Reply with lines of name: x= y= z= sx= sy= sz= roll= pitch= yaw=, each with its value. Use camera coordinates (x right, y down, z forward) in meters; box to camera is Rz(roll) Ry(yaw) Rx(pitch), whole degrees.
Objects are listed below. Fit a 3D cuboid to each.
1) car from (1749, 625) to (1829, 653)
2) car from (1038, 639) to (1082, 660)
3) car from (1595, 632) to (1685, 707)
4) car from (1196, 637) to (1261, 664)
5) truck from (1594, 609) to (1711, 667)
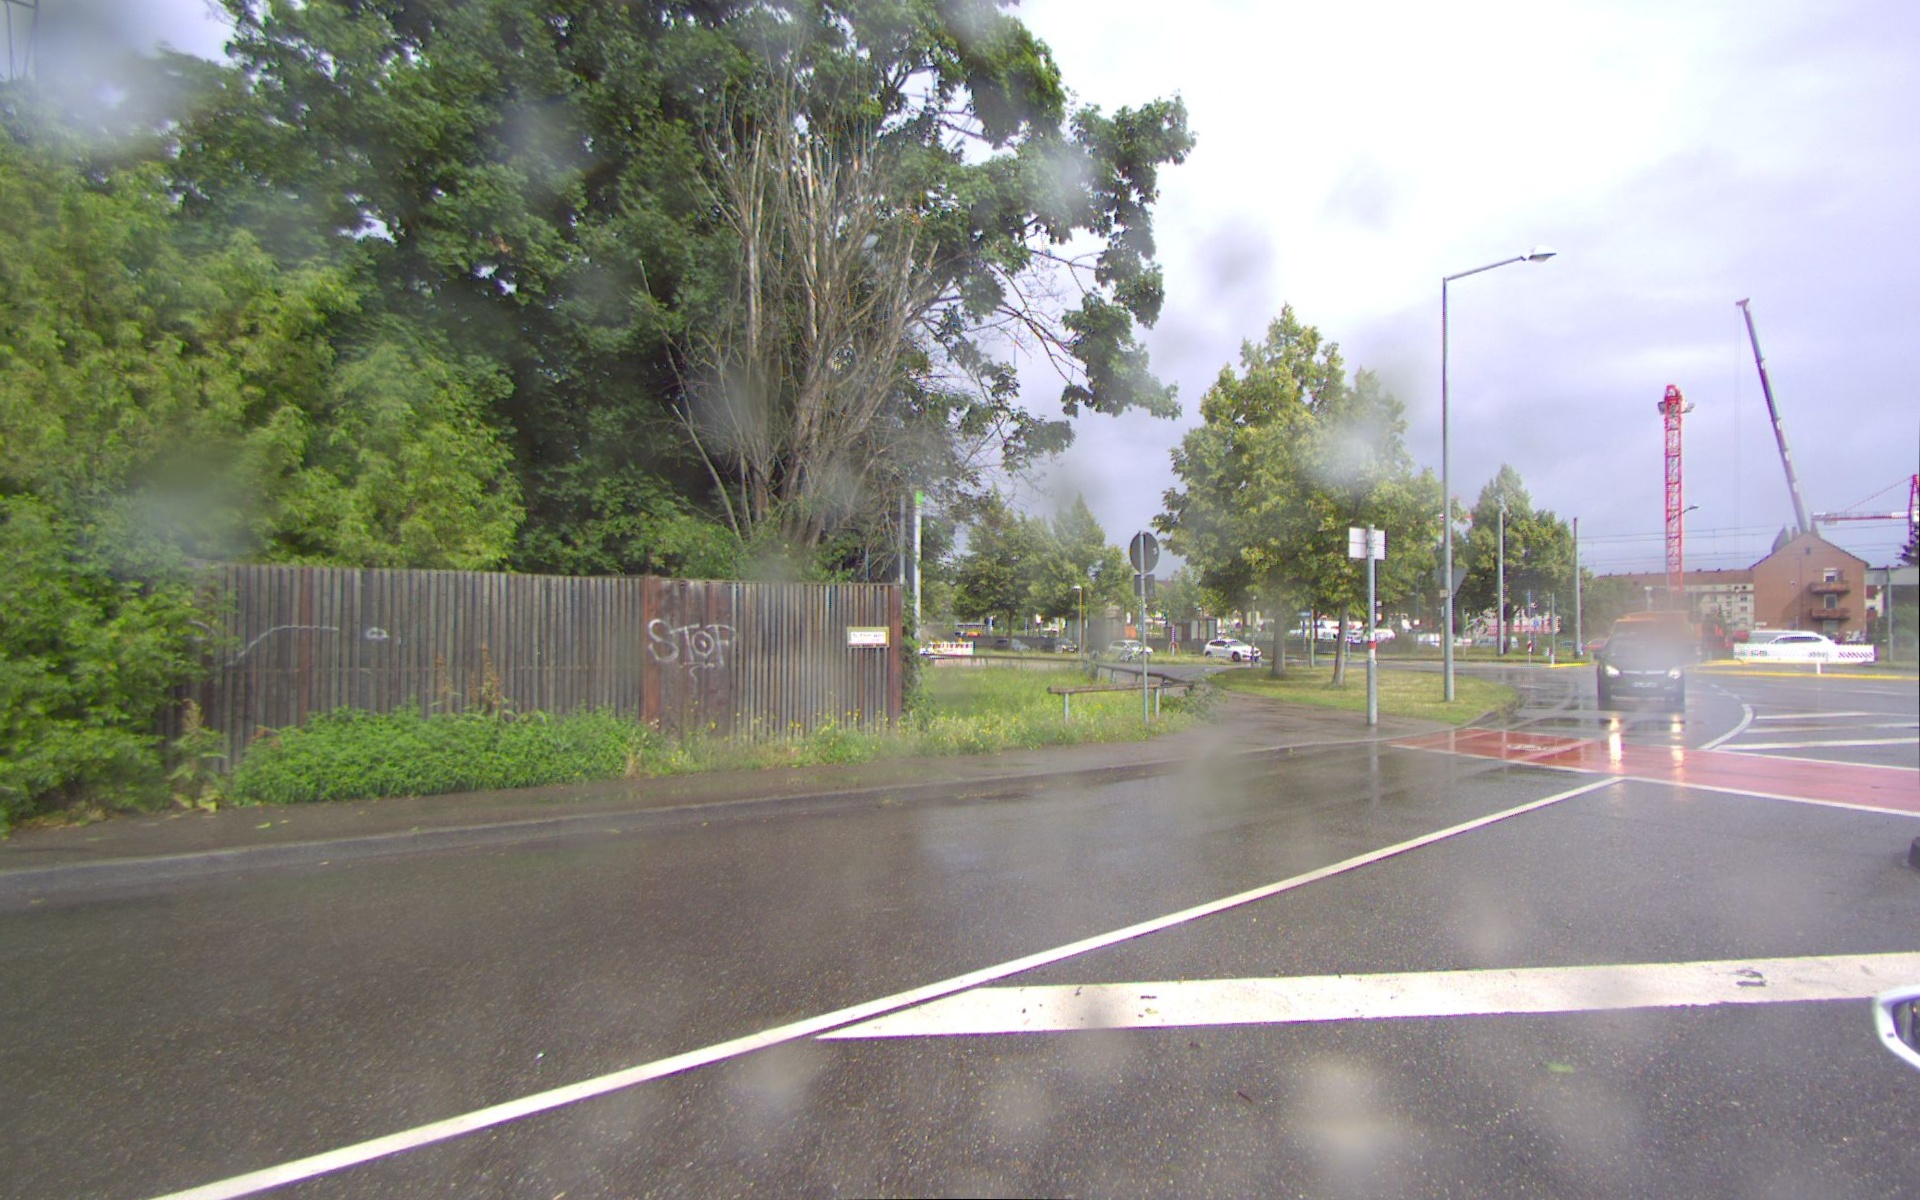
car: x=49.711 y=2.334 z=60.287 sx=3.441 sy=1.605 sz=1.565 roll=0 pitch=-1 yaw=27
car: x=8.617 y=4.271 z=86.918 sx=1.610 sy=1.649 sz=4.379 roll=1 pitch=-1 yaw=-28
car: x=16.715 y=1.641 z=24.822 sx=1.542 sy=1.670 sz=3.647 roll=0 pitch=-1 yaw=29
car: x=17.984 y=3.351 z=67.437 sx=1.613 sy=1.649 sz=4.373 roll=1 pitch=-1 yaw=-32
truck: x=34.102 y=1.825 z=49.380 sx=7.014 sy=2.685 sz=2.308 roll=1 pitch=-1 yaw=-34
